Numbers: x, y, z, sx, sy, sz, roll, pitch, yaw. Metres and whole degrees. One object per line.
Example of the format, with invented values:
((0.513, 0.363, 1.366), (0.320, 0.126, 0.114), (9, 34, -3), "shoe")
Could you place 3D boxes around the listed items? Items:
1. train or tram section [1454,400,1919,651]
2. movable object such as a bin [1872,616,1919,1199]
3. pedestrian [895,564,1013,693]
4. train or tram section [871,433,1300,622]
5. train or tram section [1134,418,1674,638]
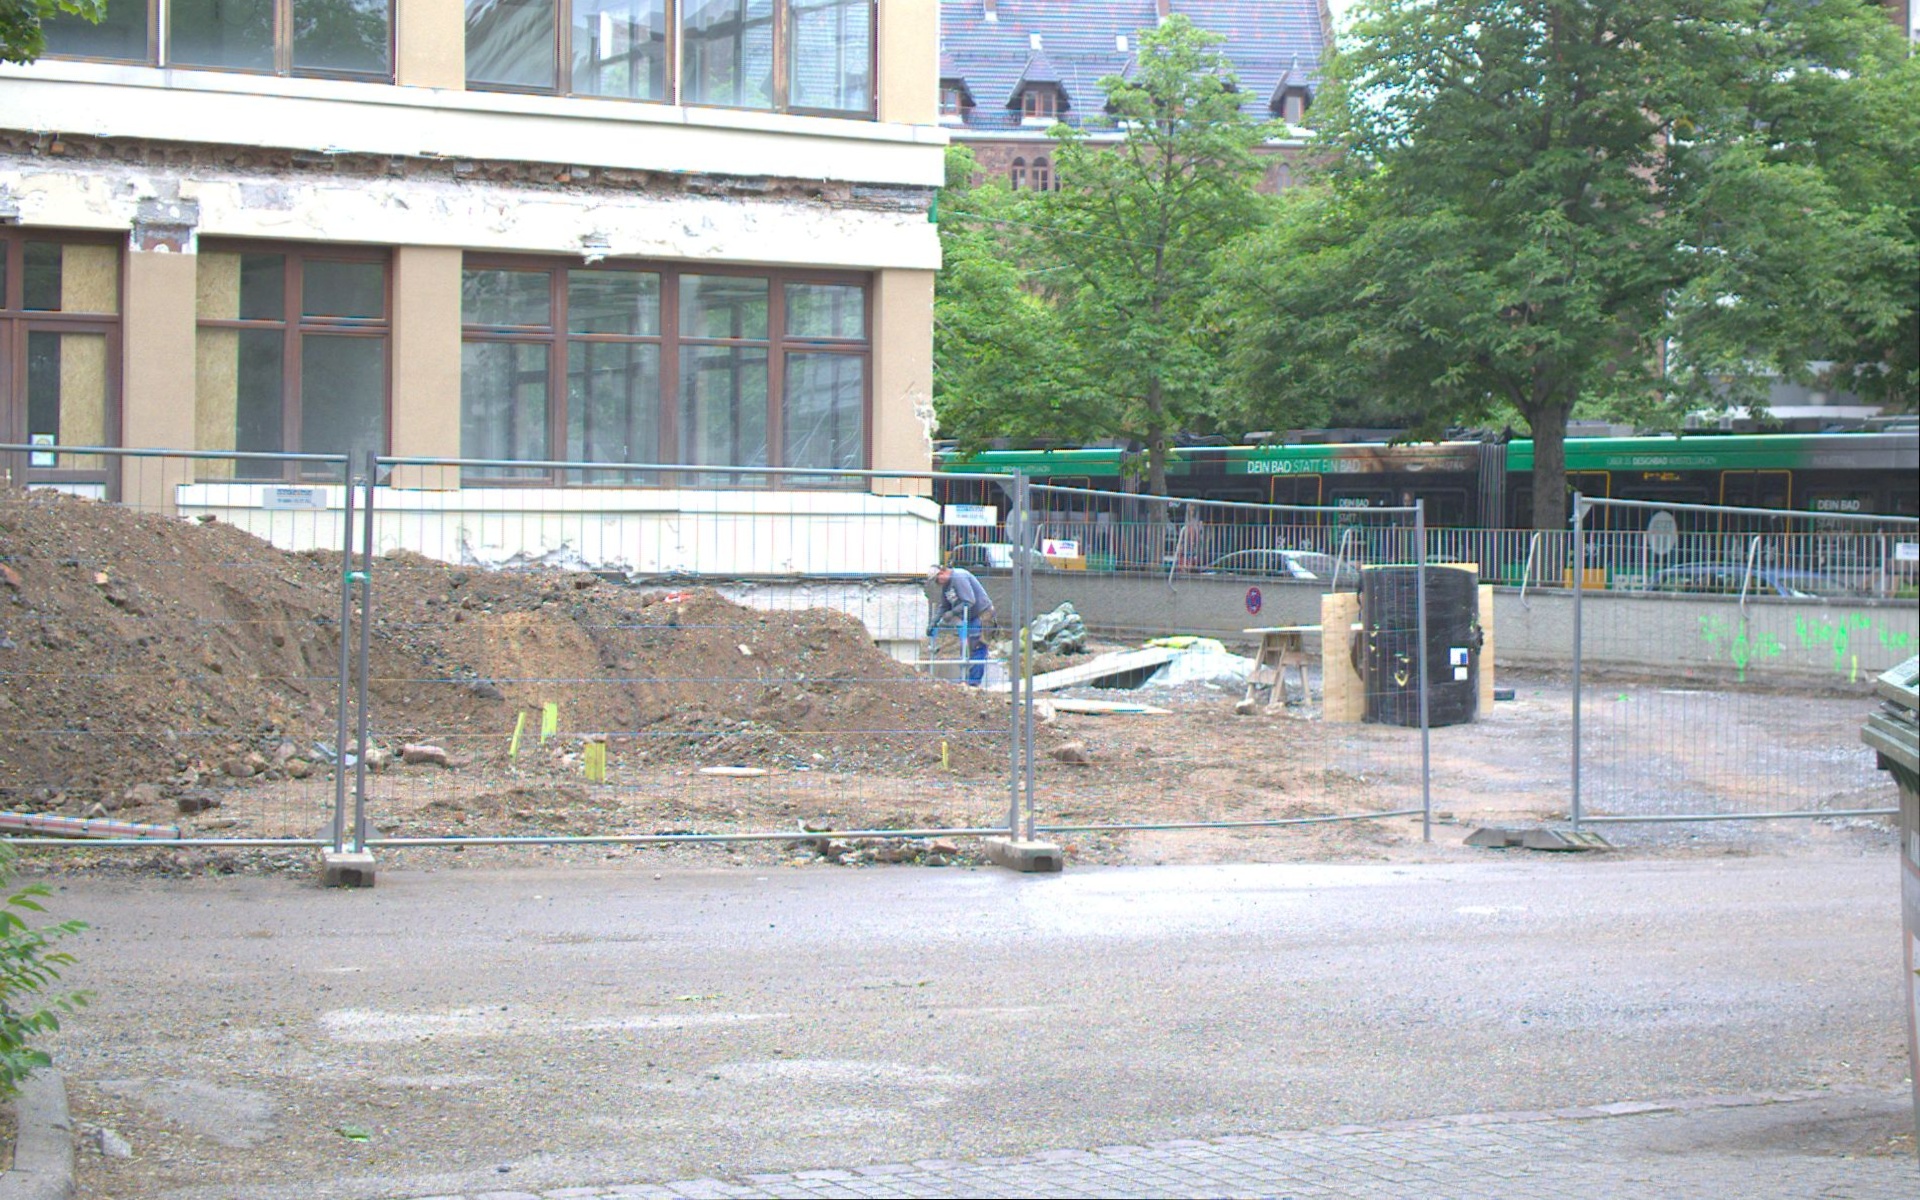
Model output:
((13.305, -1.128, 52.873), (2.659, 3.602, 14.772), (0, 1, -30), "train or tram section")
((2.237, 0.761, 6.131), (1.069, 1.429, 1.275), (1, 1, 10), "movable object such as a bin")
((-0.069, 0.320, 39.151), (0.980, 1.433, 0.931), (0, 1, -34), "pedestrian")
((2.316, -1.495, 71.607), (2.659, 3.602, 12.459), (0, 1, -30), "train or tram section")
((7.695, -1.302, 62.464), (2.659, 3.602, 12.459), (0, 1, -30), "train or tram section")
